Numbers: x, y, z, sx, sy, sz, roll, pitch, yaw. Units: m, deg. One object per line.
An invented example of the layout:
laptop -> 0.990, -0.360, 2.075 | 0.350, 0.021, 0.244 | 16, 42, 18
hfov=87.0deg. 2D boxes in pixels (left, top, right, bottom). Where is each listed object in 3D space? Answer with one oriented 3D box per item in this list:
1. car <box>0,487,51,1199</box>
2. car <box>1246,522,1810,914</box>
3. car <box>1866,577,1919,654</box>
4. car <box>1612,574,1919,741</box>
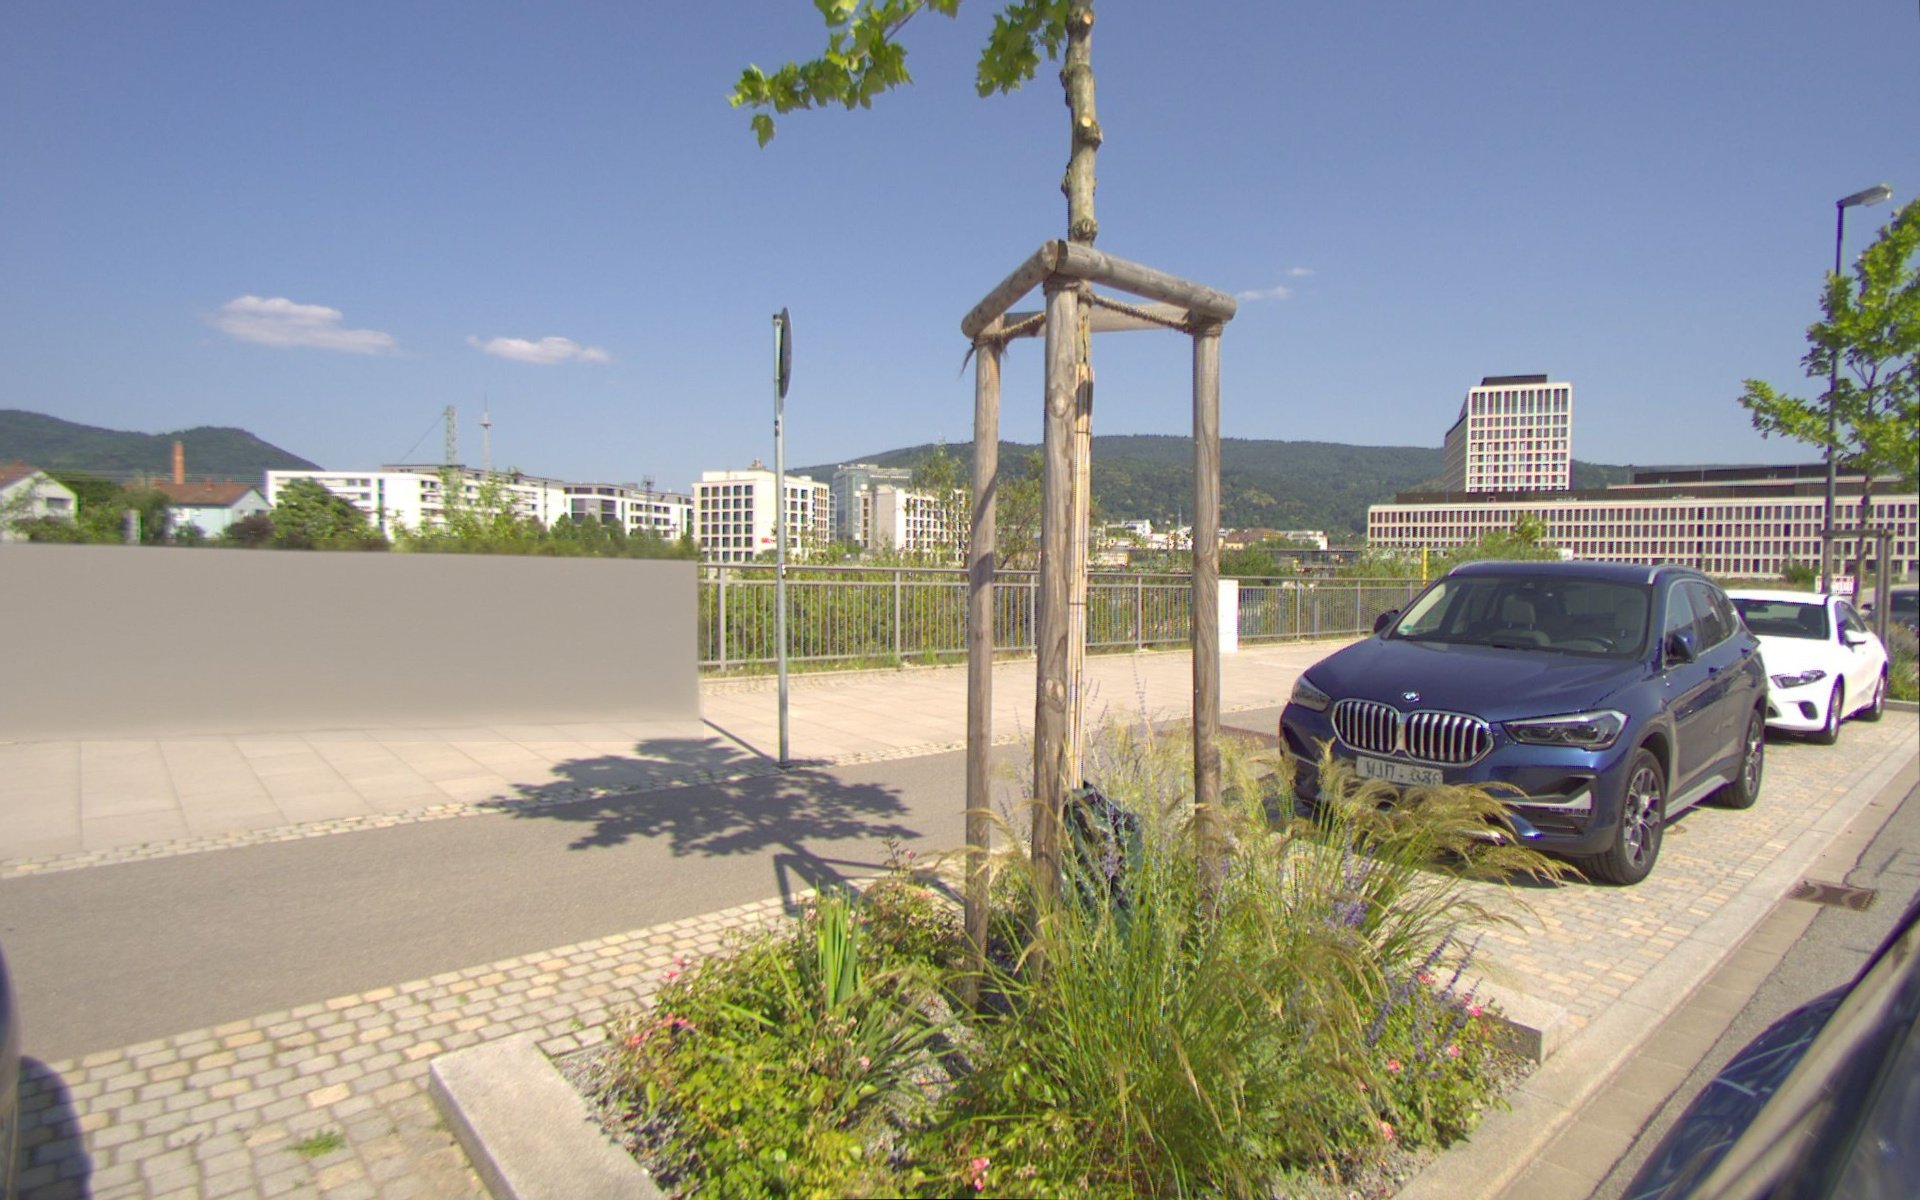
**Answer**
car -> -2.828, 0.613, 0.508 | 3.485, 1.574, 1.585 | 0, 4, -42
car -> 3.809, 0.425, 6.450 | 4.197, 1.703, 1.807 | -1, 4, -41
car -> 20.331, 0.313, 20.971 | 3.849, 1.449, 1.808 | -1, 5, -41
car -> 8.869, 0.463, 11.010 | 4.194, 1.390, 1.711 | -1, 5, -39
